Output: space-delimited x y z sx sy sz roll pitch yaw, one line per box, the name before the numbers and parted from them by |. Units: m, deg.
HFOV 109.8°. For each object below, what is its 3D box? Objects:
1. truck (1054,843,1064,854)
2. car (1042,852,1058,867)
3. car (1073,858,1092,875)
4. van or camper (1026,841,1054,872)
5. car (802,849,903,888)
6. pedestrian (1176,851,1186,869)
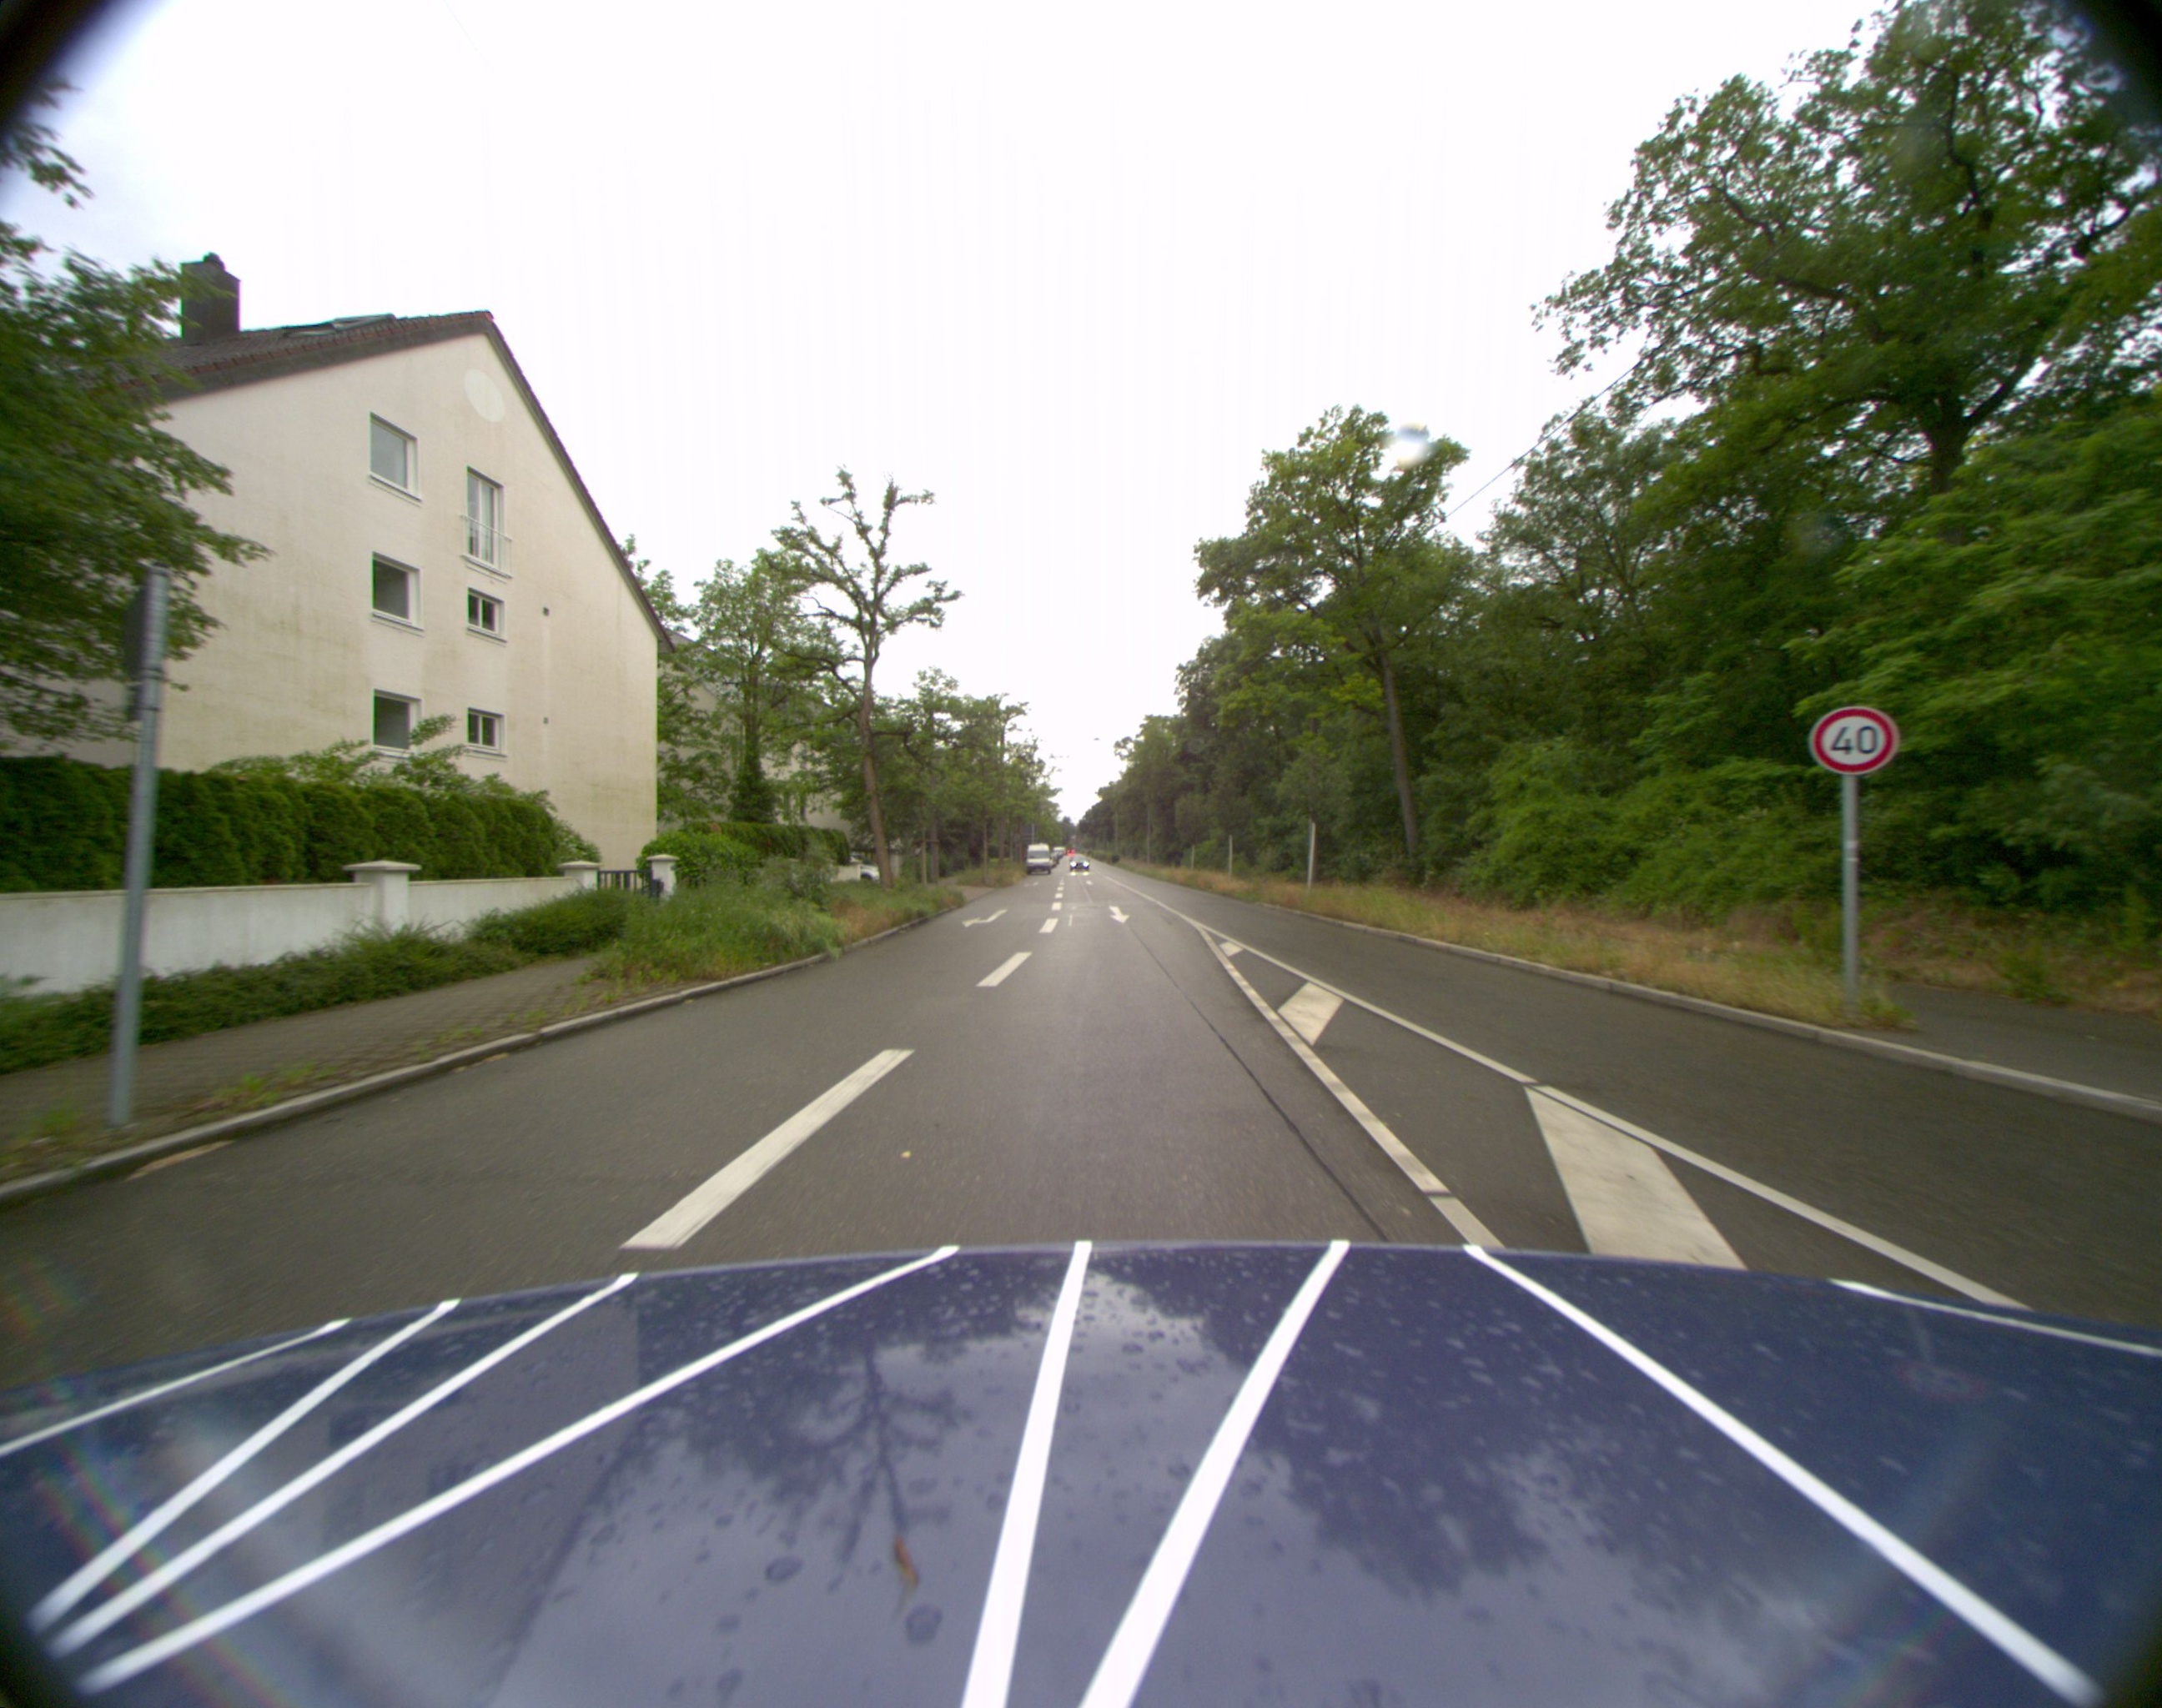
truck | -5.059 -1.233 173.814 2.230 2.322 5.112 1 1 -2
car | -3.408 0.565 82.982 1.576 1.464 3.764 -2 1 0
car | 0.110 1.130 72.508 1.621 1.460 4.409 -2 1 -2
van or camper | -3.469 0.159 64.928 2.042 2.465 5.637 -3 1 -1
car | -11.176 0.701 37.274 4.312 1.807 1.875 -1 1 10
pedestrian | 8.772 0.512 66.488 0.783 1.598 0.732 0 1 -2
